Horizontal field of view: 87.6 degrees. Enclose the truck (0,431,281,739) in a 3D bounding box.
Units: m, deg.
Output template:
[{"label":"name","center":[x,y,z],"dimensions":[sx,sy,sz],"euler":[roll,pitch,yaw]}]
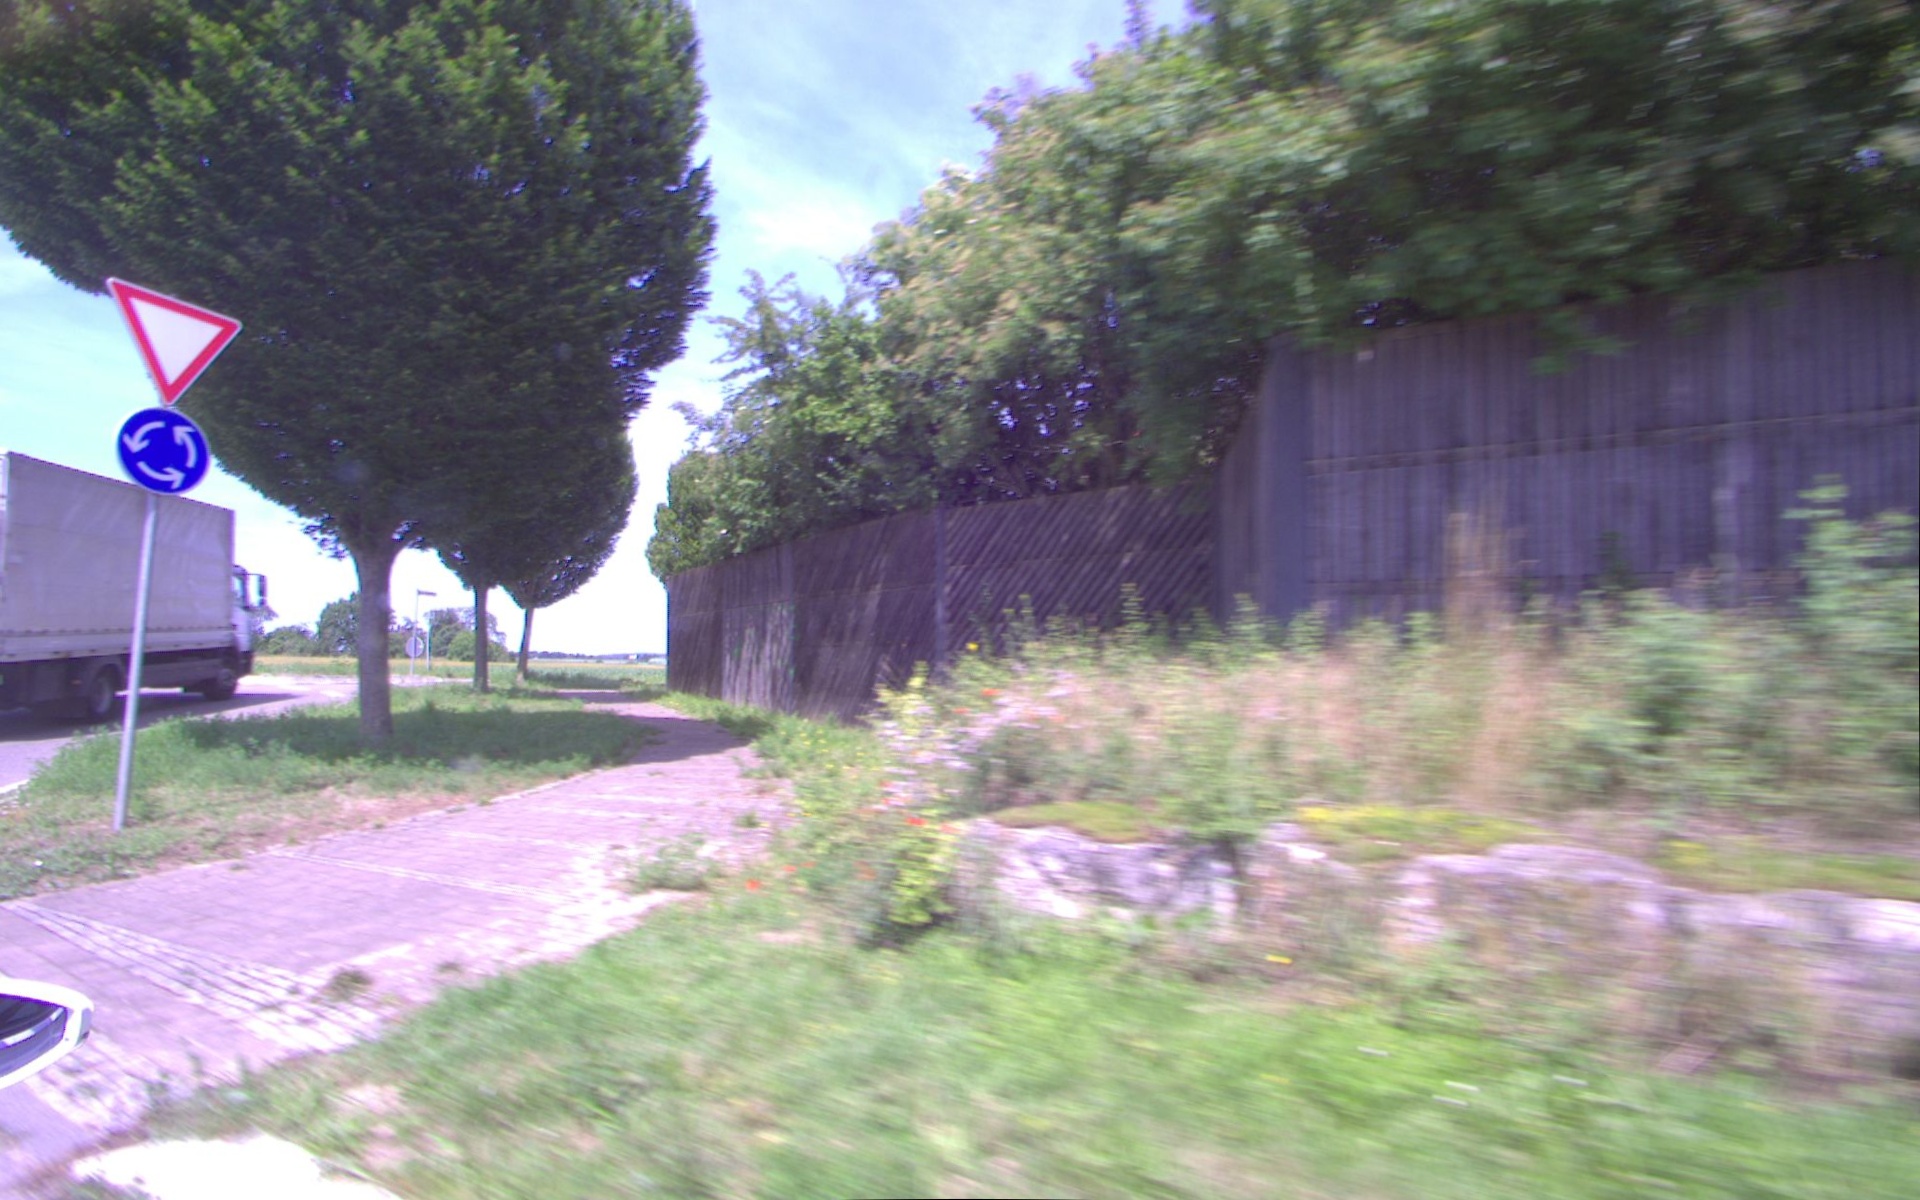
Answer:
[{"label":"truck","center":[-14.233,-0.142,16.156],"dimensions":[2.728,3.717,9.365],"euler":[2,-2,-17]}]
